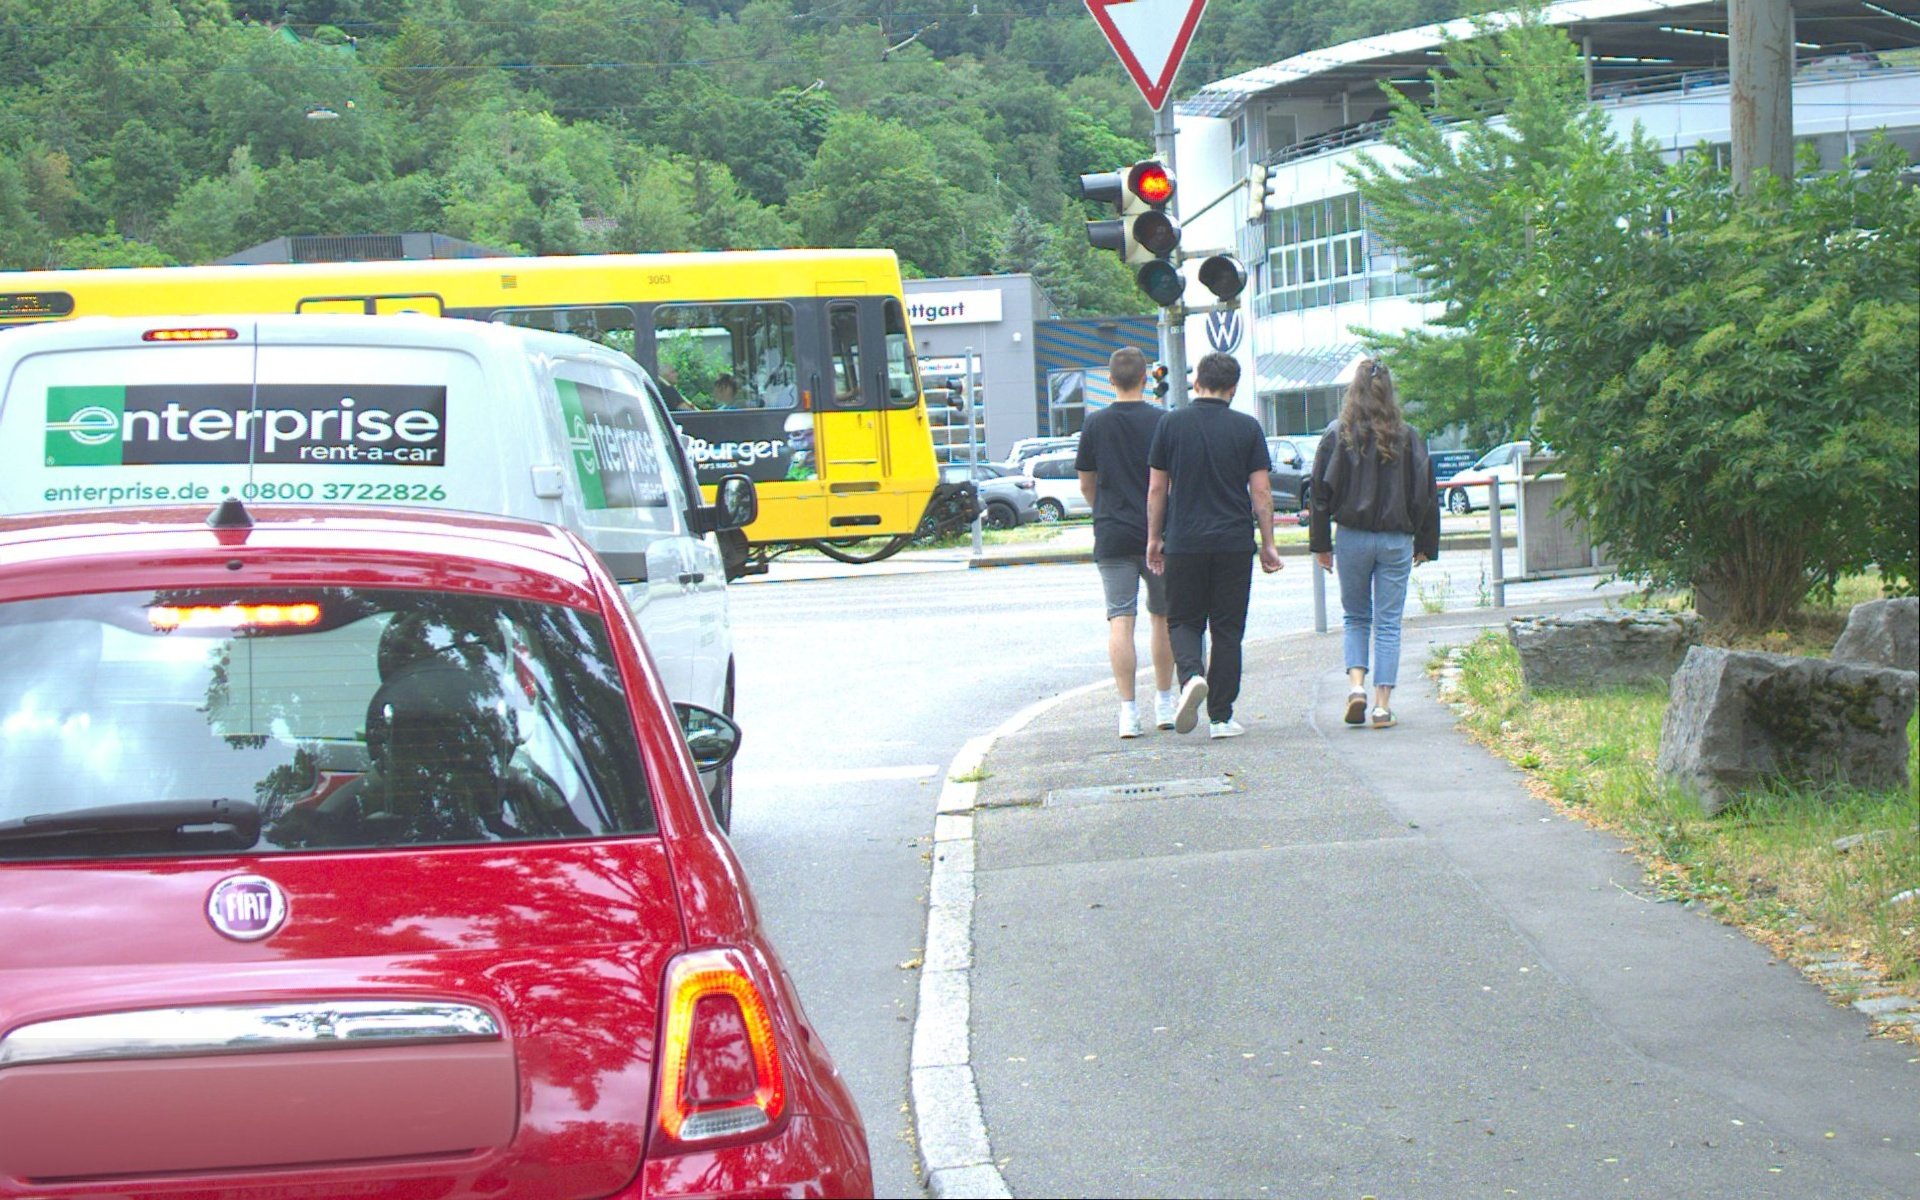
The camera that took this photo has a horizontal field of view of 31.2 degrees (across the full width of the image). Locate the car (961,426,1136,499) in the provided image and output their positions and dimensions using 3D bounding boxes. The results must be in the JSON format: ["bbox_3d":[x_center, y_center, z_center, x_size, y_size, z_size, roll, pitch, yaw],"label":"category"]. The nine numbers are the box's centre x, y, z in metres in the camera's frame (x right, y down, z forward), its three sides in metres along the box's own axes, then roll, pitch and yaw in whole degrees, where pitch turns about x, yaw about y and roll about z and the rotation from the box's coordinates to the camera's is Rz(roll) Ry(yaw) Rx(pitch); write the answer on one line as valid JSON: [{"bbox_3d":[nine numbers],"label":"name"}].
[{"bbox_3d":[2.487,-3.854,96.196,4.796,1.796,1.776,-2,2,3],"label":"car"}]

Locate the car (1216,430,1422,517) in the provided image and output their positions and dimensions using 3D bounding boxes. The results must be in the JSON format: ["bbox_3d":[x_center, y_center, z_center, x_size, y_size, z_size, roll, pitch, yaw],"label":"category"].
[{"bbox_3d":[6.760,-2.371,65.063,1.770,1.495,3.881,-4,3,-33],"label":"car"}]

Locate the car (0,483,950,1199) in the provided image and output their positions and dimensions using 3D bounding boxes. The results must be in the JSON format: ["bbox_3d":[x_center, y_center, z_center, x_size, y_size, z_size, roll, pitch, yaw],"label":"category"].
[{"bbox_3d":[-1.155,0.571,5.538,1.638,1.451,3.432,-2,2,-11],"label":"car"}]

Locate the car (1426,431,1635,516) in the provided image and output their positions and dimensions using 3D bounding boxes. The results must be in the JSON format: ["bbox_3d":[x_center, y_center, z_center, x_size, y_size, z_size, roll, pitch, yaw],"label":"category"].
[{"bbox_3d":[11.051,-2.442,66.844,1.770,1.495,4.022,-4,3,-31],"label":"car"}]

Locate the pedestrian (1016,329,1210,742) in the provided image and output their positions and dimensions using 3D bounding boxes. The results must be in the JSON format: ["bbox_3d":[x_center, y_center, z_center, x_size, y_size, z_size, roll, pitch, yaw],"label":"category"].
[{"bbox_3d":[0.724,-0.307,16.025,0.693,1.850,0.788,-3,2,12],"label":"pedestrian"}]

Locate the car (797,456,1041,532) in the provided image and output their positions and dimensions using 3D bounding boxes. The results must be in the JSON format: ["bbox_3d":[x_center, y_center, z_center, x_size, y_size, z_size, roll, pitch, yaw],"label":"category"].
[{"bbox_3d":[-0.828,-2.180,70.464,4.674,1.323,1.775,-2,2,14],"label":"car"}]

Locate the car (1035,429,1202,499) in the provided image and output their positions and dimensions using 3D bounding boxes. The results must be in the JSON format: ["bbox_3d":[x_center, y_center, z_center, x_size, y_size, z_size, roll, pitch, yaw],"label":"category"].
[{"bbox_3d":[4.664,-4.001,101.092,4.796,1.796,1.776,-2,2,3],"label":"car"}]

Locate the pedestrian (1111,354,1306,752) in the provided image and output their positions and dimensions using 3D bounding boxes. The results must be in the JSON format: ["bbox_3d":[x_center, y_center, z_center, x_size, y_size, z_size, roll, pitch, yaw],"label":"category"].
[{"bbox_3d":[1.123,-0.218,15.401,0.693,1.708,0.788,-3,2,12],"label":"pedestrian"}]

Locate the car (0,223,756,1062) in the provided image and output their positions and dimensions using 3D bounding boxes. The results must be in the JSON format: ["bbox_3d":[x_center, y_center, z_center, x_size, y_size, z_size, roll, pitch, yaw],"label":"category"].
[{"bbox_3d":[-1.919,0.031,11.289,1.989,2.099,4.762,-3,2,2],"label":"car"}]

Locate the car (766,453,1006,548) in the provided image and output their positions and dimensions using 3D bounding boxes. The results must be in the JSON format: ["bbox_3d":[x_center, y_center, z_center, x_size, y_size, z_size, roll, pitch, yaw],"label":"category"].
[{"bbox_3d":[-1.309,-1.782,61.379,3.871,1.495,1.774,-2,2,17],"label":"car"}]

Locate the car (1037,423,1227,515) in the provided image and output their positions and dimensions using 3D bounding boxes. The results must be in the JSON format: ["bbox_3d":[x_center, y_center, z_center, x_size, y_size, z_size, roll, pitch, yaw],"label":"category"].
[{"bbox_3d":[4.452,-3.401,89.288,4.796,2.149,2.234,-2,2,3],"label":"car"}]

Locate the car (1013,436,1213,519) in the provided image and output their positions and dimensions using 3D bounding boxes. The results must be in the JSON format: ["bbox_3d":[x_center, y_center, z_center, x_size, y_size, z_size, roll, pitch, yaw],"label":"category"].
[{"bbox_3d":[3.758,-3.008,84.440,4.796,1.796,1.776,-2,2,3],"label":"car"}]

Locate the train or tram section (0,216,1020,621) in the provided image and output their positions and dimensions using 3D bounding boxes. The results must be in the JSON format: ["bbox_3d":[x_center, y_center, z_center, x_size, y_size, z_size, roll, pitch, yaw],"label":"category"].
[{"bbox_3d":[-9.013,-1.709,34.574,19.107,3.653,3.279,-3,2,-18],"label":"train or tram section"}]

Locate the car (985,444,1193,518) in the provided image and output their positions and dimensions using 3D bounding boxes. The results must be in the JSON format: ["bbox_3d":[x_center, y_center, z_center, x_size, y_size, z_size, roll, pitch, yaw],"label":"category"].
[{"bbox_3d":[3.039,-2.810,81.063,4.796,1.528,1.776,-2,2,3],"label":"car"}]

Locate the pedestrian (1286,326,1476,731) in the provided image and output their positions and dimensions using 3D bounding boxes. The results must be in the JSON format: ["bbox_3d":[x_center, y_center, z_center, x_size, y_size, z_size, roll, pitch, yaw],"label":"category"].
[{"bbox_3d":[1.891,-0.323,15.360,0.693,1.733,0.788,-2,2,13],"label":"pedestrian"}]
